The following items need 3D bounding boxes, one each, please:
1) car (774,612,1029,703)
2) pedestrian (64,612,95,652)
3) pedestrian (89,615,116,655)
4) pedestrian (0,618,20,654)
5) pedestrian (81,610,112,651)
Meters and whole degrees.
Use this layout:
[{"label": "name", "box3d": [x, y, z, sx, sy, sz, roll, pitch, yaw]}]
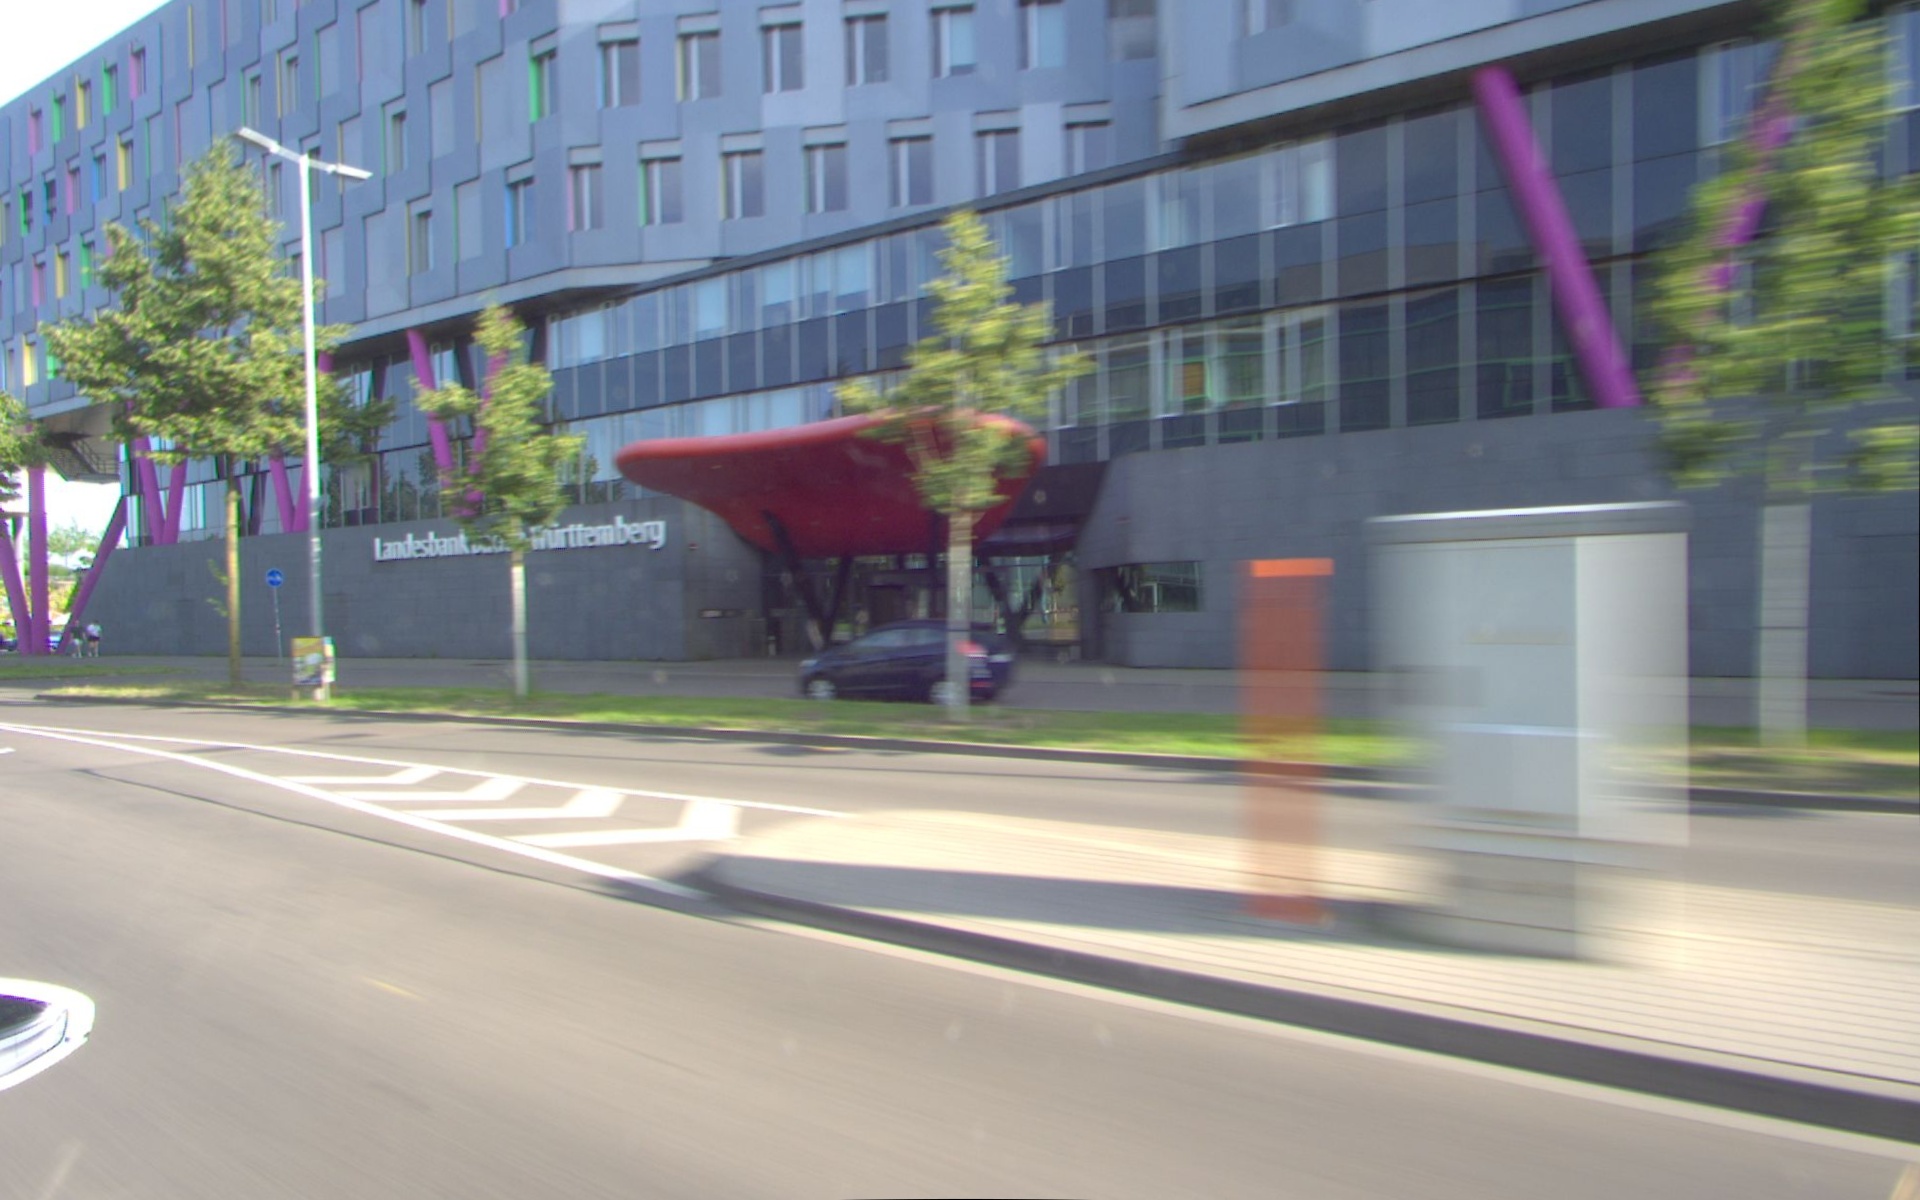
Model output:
[{"label": "car", "box3d": [-1.035, 0.929, 17.346, 4.133, 1.408, 1.690, -1, 0, 28]}, {"label": "pedestrian", "box3d": [-40.297, 1.465, 45.839, 0.831, 1.818, 0.753, -1, 2, 28]}, {"label": "pedestrian", "box3d": [-39.885, 1.624, 46.559, 0.774, 1.817, 0.656, -1, 1, 28]}, {"label": "pedestrian", "box3d": [-44.889, 1.700, 47.112, 0.725, 1.661, 0.693, -1, 2, 28]}, {"label": "pedestrian", "box3d": [-40.043, 1.415, 46.433, 0.839, 1.850, 0.767, -1, 2, 28]}]
